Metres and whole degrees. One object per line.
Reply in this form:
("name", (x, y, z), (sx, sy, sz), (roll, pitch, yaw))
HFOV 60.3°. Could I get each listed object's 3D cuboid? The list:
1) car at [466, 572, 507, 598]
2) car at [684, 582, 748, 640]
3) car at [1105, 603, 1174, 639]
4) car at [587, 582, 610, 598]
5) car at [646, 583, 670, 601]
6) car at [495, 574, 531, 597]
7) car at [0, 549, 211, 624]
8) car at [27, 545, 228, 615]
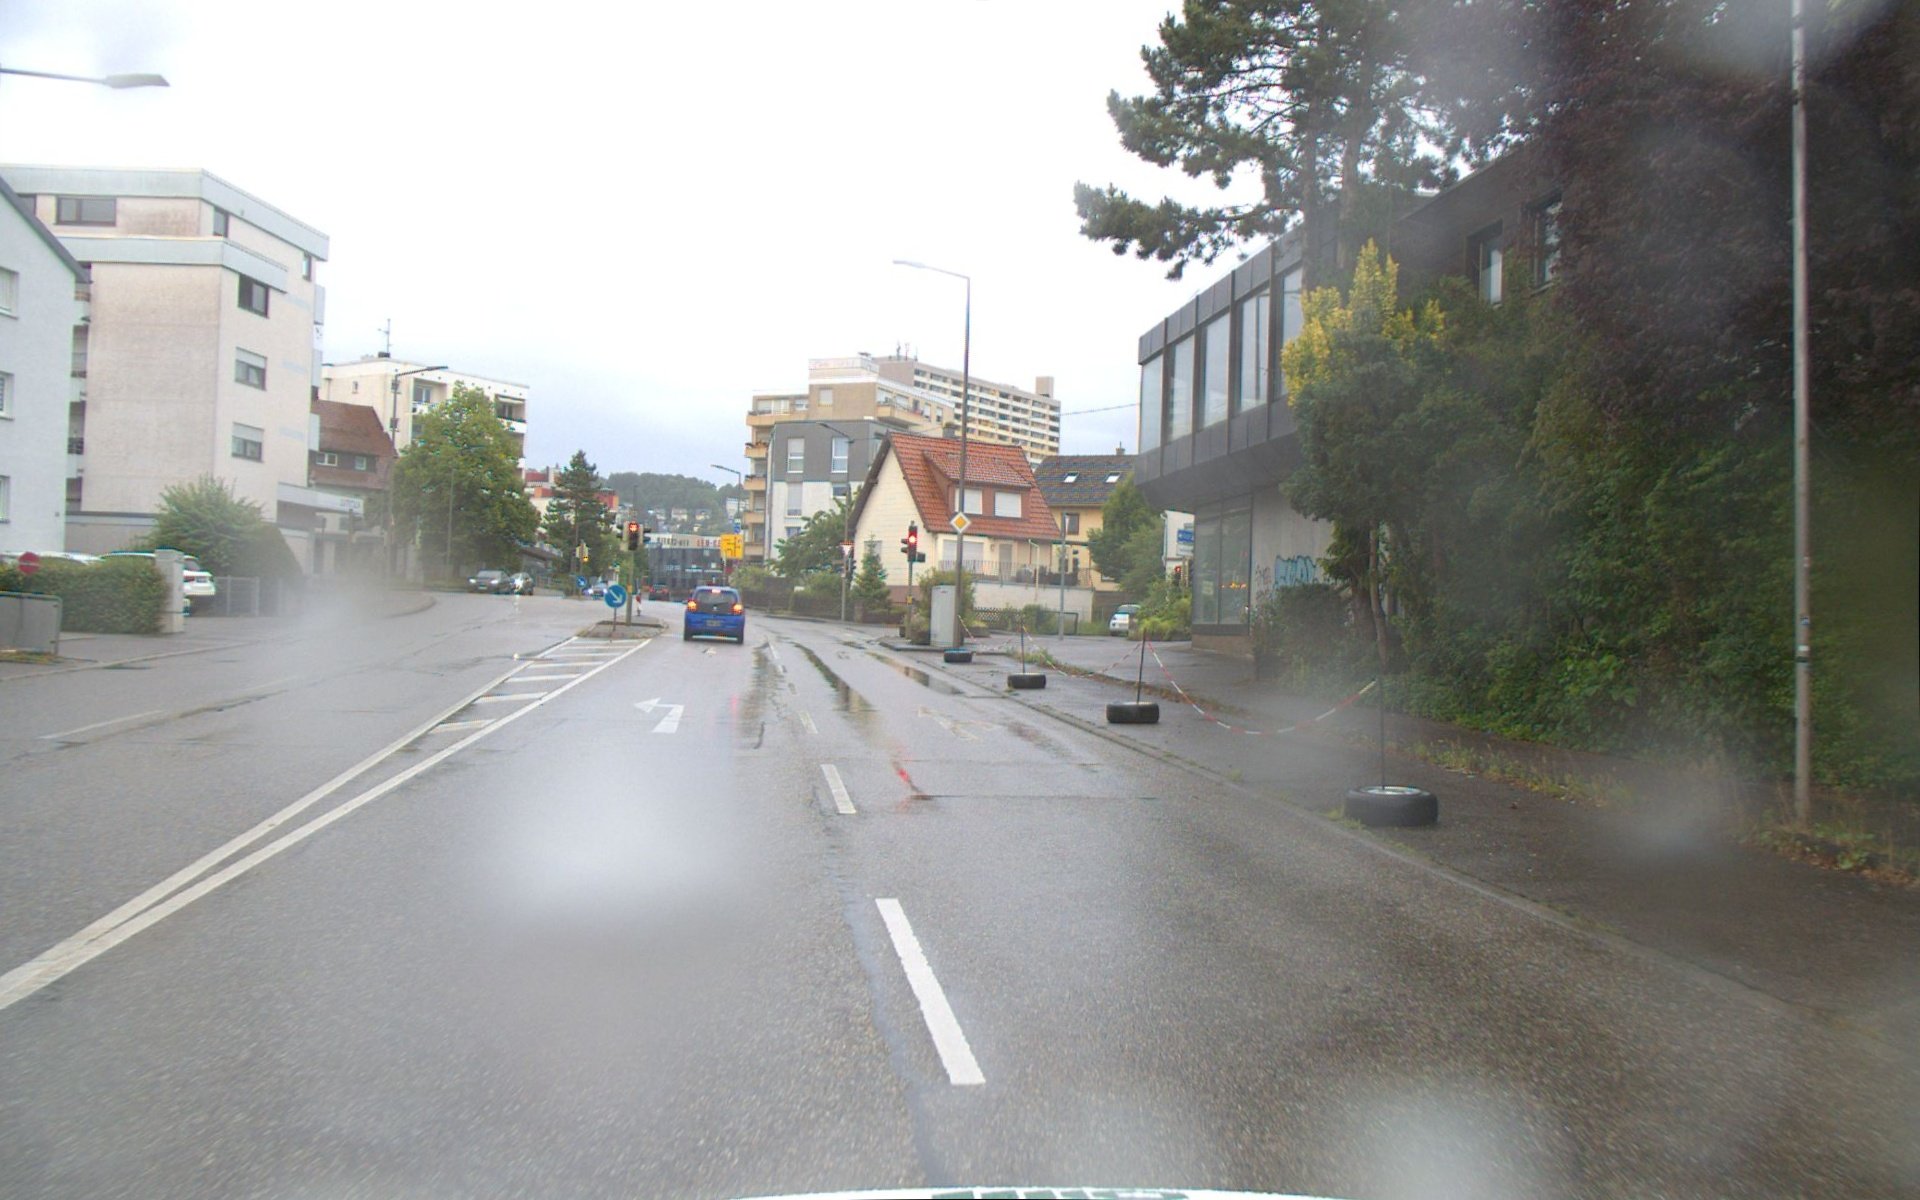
("car", (-28.613, -0.899, 100.000), (1.745, 1.445, 3.824), (3, 0, -8))
("car", (-6.561, 0.282, 44.672), (1.549, 1.435, 3.265), (3, 0, -7))
("car", (8.300, 1.000, 76.288), (1.707, 1.541, 3.993), (3, 0, 29))
("car", (-34.498, -0.995, 157.825), (1.745, 1.445, 3.824), (3, 0, -8))
("car", (-26.676, -0.681, 146.204), (1.778, 1.512, 4.183), (2, 0, -7))
("car", (-28.941, -0.938, 107.211), (1.683, 1.411, 4.014), (3, 0, -8))
("car", (-19.362, -0.310, 37.170), (4.134, 1.499, 1.904), (2, 0, -2))
("car", (-22.272, -0.523, 44.371), (4.358, 1.665, 1.940), (2, 0, 2))
